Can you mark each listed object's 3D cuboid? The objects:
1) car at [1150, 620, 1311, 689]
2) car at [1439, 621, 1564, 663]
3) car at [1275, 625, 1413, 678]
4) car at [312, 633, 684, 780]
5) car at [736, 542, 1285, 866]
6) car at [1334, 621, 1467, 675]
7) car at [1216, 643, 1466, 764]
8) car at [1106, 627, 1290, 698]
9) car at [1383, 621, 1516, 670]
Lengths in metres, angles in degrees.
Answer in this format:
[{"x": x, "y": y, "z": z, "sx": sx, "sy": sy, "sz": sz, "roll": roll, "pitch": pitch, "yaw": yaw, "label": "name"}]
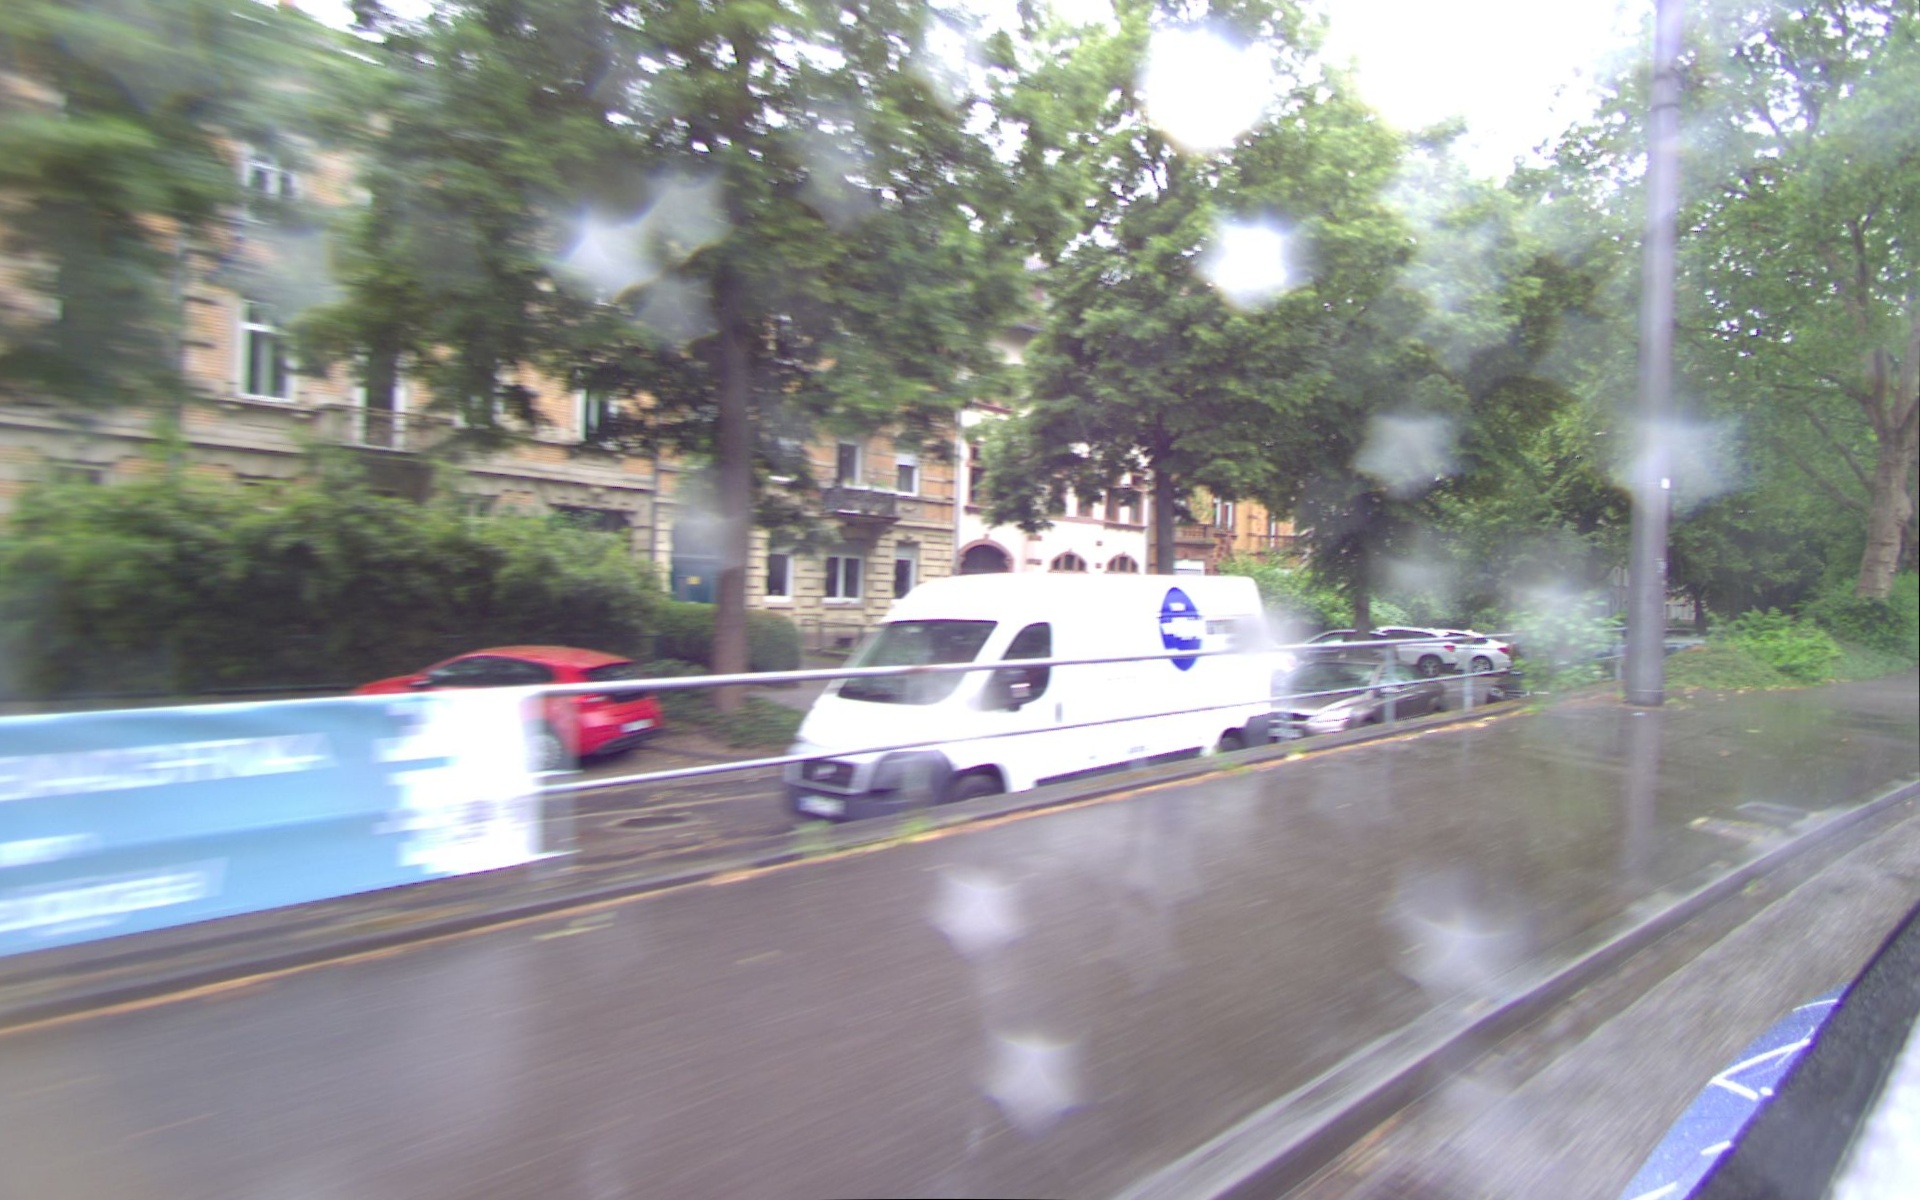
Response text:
[{"x": 7.218, "y": 1.393, "z": 27.017, "sx": 3.957, "sy": 1.523, "sz": 1.645, "roll": 2, "pitch": 2, "yaw": 24, "label": "car"}, {"x": 21.198, "y": 1.621, "z": 39.801, "sx": 3.941, "sy": 1.482, "sz": 1.905, "roll": 0, "pitch": 0, "yaw": 14, "label": "car"}, {"x": 12.113, "y": 1.590, "z": 32.207, "sx": 3.946, "sy": 1.482, "sz": 1.989, "roll": 0, "pitch": 0, "yaw": 18, "label": "car"}, {"x": -6.136, "y": 1.314, "z": 13.539, "sx": 4.371, "sy": 1.471, "sz": 1.889, "roll": 2, "pitch": 0, "yaw": 17, "label": "car"}, {"x": 0.875, "y": 0.790, "z": 10.568, "sx": 6.056, "sy": 2.451, "sz": 2.210, "roll": 0, "pitch": -1, "yaw": -44, "label": "car"}, {"x": 14.808, "y": 1.578, "z": 34.252, "sx": 3.946, "sy": 1.629, "sz": 1.815, "roll": 0, "pitch": 0, "yaw": 18, "label": "car"}, {"x": 5.870, "y": 1.433, "z": 15.323, "sx": 1.967, "sy": 1.370, "sz": 4.313, "roll": -1, "pitch": 0, "yaw": 45, "label": "car"}, {"x": 5.845, "y": 1.472, "z": 24.854, "sx": 4.213, "sy": 1.397, "sz": 1.679, "roll": 2, "pitch": 2, "yaw": 22, "label": "car"}, {"x": 17.489, "y": 1.612, "z": 36.341, "sx": 3.941, "sy": 1.585, "sz": 1.991, "roll": 0, "pitch": 0, "yaw": 14, "label": "car"}]
